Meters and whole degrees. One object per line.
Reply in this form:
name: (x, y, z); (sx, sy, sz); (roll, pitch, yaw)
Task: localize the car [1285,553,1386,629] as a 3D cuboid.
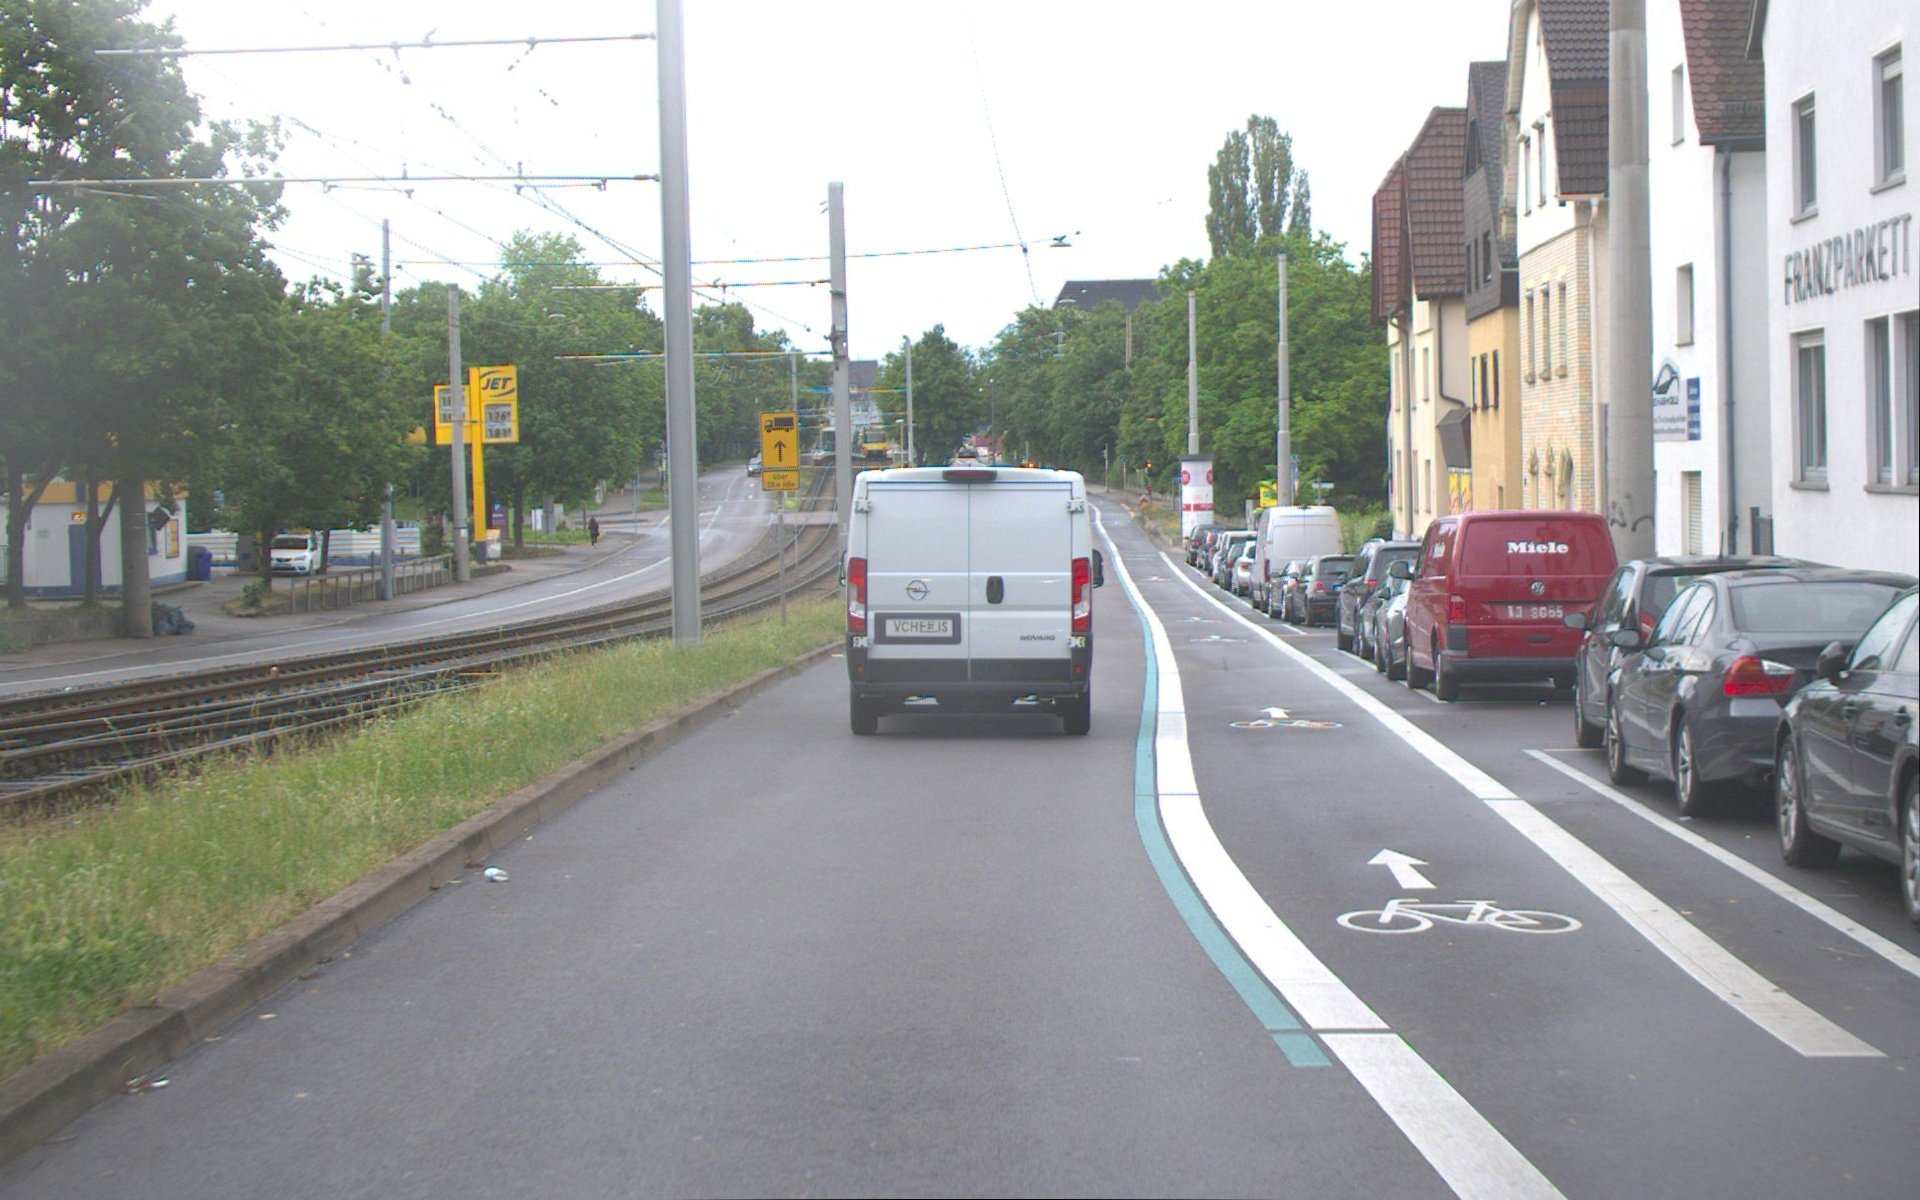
car: (7.785, -0.209, 71.507); (1.565, 1.493, 3.513); (1, 1, -2)

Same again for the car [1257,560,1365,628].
car: (7.873, -0.160, 77.462); (1.788, 1.401, 4.553); (1, 1, -2)

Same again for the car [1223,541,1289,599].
car: (8.651, -0.895, 100.601); (1.646, 1.609, 4.105); (1, 2, 1)

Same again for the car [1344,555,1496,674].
car: (6.370, 0.165, 47.999); (1.634, 1.533, 4.135); (1, 1, 1)

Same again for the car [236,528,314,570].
car: (-24.378, -1.804, 122.470); (1.993, 1.437, 4.000); (1, 1, -1)

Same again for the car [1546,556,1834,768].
car: (5.405, 0.435, 25.824); (1.578, 1.447, 3.719); (-1, 0, 4)

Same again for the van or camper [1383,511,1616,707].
van or camper: (5.679, 0.054, 36.749); (1.851, 1.913, 4.994); (-1, 1, 2)

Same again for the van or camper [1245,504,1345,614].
van or camper: (8.221, -1.054, 84.743); (1.993, 2.554, 6.043); (1, 2, 1)

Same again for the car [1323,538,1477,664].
car: (6.699, -0.022, 52.743); (1.839, 1.794, 4.686); (1, 1, 1)

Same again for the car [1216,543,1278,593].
car: (8.830, -0.994, 106.075); (1.646, 1.441, 3.954); (1, 2, 1)

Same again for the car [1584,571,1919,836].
car: (4.962, 0.546, 20.966); (1.712, 1.407, 4.565); (0, 1, 3)

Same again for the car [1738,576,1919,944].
car: (4.698, 0.615, 15.292); (1.677, 1.418, 4.565); (0, 1, 3)

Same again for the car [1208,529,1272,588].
car: (9.066, -1.368, 111.583); (1.747, 1.801, 3.955); (0, 2, 0)

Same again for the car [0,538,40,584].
car: (-31.984, -1.293, 111.853); (3.763, 1.474, 1.576); (1, 1, -24)

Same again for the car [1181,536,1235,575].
car: (9.727, -1.745, 134.948); (1.847, 1.494, 3.954); (0, 1, 0)

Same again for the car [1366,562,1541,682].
car: (6.011, 0.232, 42.275); (1.796, 1.371, 4.670); (0, 1, 4)

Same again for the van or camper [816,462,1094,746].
van or camper: (-0.115, 0.000, 29.880); (2.199, 2.245, 4.684); (1, 1, -2)
